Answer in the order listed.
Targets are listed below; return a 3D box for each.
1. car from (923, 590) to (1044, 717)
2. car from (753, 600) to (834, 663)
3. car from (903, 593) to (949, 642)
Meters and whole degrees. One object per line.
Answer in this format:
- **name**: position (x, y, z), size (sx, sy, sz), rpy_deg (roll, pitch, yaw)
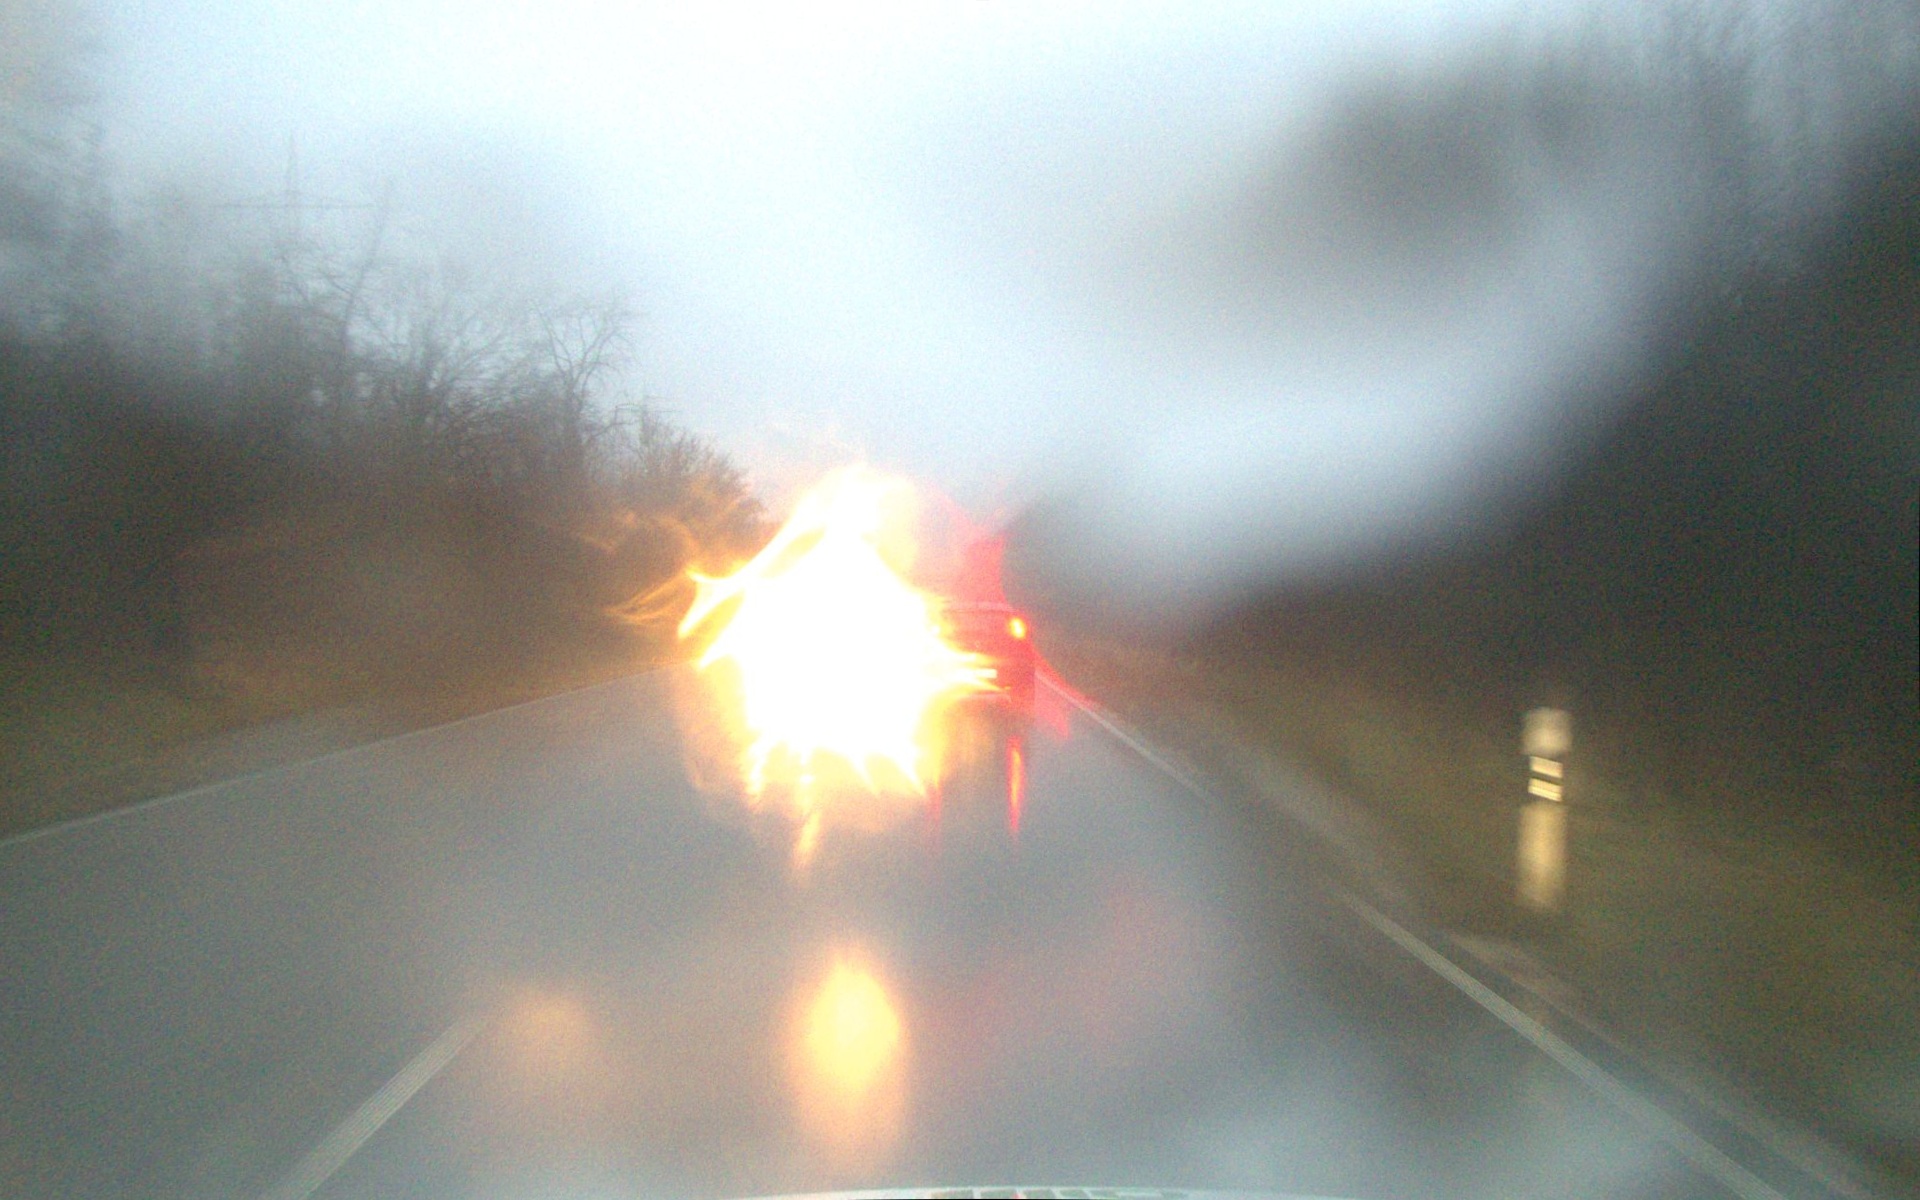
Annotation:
- **car**: position (0.290, 0.730, 24.218), size (1.614, 1.701, 3.513), rpy_deg (1, 0, -1)
- **car**: position (-4.395, 0.794, 44.368), size (1.664, 1.522, 5.663), rpy_deg (1, 0, -1)
- **car**: position (-1.310, 0.659, 63.336), size (1.698, 1.810, 3.999), rpy_deg (1, 0, -1)
